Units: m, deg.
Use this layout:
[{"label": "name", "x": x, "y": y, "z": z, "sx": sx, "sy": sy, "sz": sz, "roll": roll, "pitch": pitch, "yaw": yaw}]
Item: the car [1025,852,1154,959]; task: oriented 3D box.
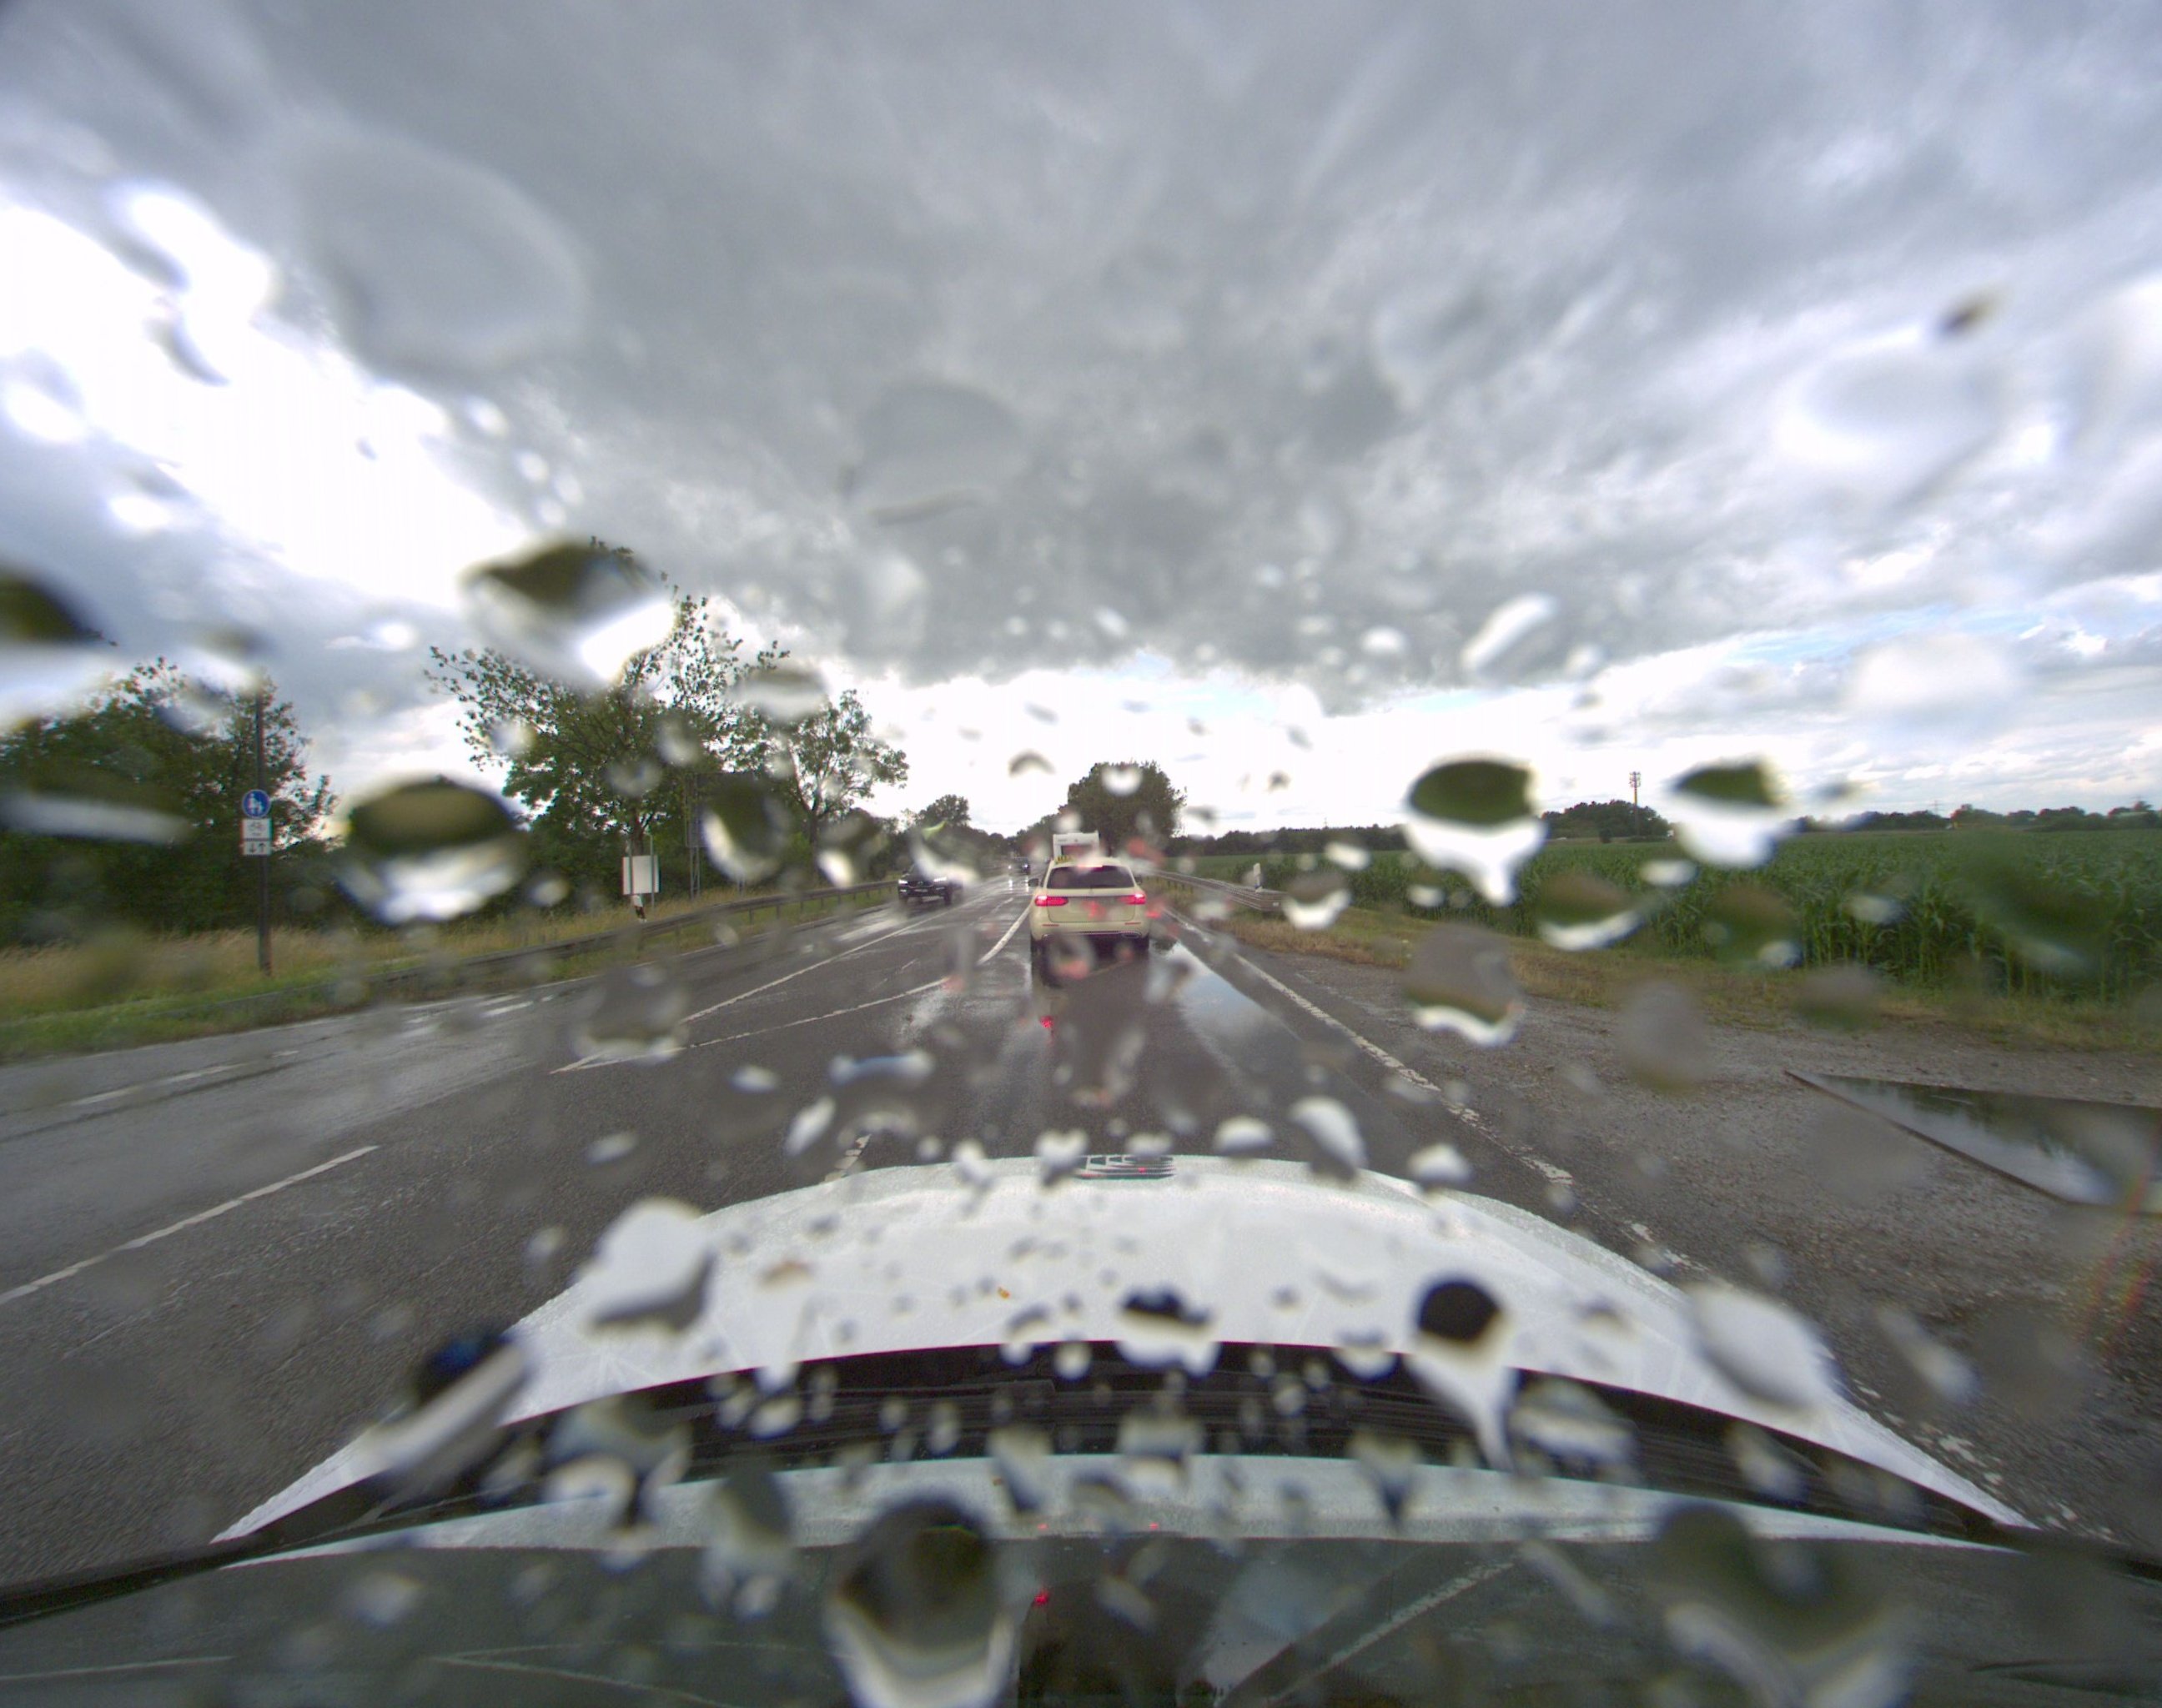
[{"label": "car", "x": 0.153, "y": 0.739, "z": 13.656, "sx": 1.819, "sy": 1.485, "sz": 4.145, "roll": -1, "pitch": 0, "yaw": 1}]

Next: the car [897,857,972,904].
[{"label": "car", "x": -5.516, "y": 0.946, "z": 31.193, "sx": 1.937, "sy": 1.580, "sz": 4.443, "roll": -3, "pitch": 0, "yaw": 0}]

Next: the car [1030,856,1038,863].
[{"label": "car", "x": -13.473, "y": 1.664, "z": 233.862, "sx": 1.991, "sy": 2.013, "sz": 3.992, "roll": -2, "pitch": 0, "yaw": -6}]

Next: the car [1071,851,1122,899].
[{"label": "car", "x": 0.503, "y": 0.697, "z": 28.850, "sx": 1.622, "sy": 1.529, "sz": 3.931, "roll": -2, "pitch": 0, "yaw": 0}]

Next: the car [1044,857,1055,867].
[{"label": "car", "x": -6.590, "y": 1.682, "z": 170.463, "sx": 1.990, "sy": 2.013, "sz": 3.993, "roll": -2, "pitch": 0, "yaw": -5}]

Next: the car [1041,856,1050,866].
[{"label": "car", "x": -7.930, "y": 1.529, "z": 182.260, "sx": 1.987, "sy": 2.013, "sz": 3.999, "roll": -2, "pitch": 0, "yaw": 0}]

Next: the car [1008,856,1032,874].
[{"label": "car", "x": -5.476, "y": 0.980, "z": 73.619, "sx": 1.763, "sy": 1.523, "sz": 4.141, "roll": -4, "pitch": 0, "yaw": 0}]

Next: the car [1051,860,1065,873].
[{"label": "car", "x": -4.039, "y": 2.141, "z": 140.953, "sx": 1.992, "sy": 2.013, "sz": 3.989, "roll": -2, "pitch": 0, "yaw": -8}]

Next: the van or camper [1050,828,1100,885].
[{"label": "van or camper", "x": -0.300, "y": 0.092, "z": 42.581, "sx": 2.343, "sy": 2.680, "sz": 5.767, "roll": -2, "pitch": 0, "yaw": 0}]

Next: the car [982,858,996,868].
[{"label": "car", "x": -17.021, "y": 1.619, "z": 150.608, "sx": 1.987, "sy": 1.651, "sz": 4.000, "roll": -2, "pitch": 0, "yaw": 1}]

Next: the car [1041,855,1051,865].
[{"label": "car", "x": -8.211, "y": 1.380, "z": 189.943, "sx": 1.987, "sy": 2.051, "sz": 4.000, "roll": -2, "pitch": 0, "yaw": 0}]

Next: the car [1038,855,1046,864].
[{"label": "car", "x": -9.614, "y": 1.307, "z": 201.499, "sx": 1.989, "sy": 2.013, "sz": 3.996, "roll": -2, "pitch": 0, "yaw": -3}]
